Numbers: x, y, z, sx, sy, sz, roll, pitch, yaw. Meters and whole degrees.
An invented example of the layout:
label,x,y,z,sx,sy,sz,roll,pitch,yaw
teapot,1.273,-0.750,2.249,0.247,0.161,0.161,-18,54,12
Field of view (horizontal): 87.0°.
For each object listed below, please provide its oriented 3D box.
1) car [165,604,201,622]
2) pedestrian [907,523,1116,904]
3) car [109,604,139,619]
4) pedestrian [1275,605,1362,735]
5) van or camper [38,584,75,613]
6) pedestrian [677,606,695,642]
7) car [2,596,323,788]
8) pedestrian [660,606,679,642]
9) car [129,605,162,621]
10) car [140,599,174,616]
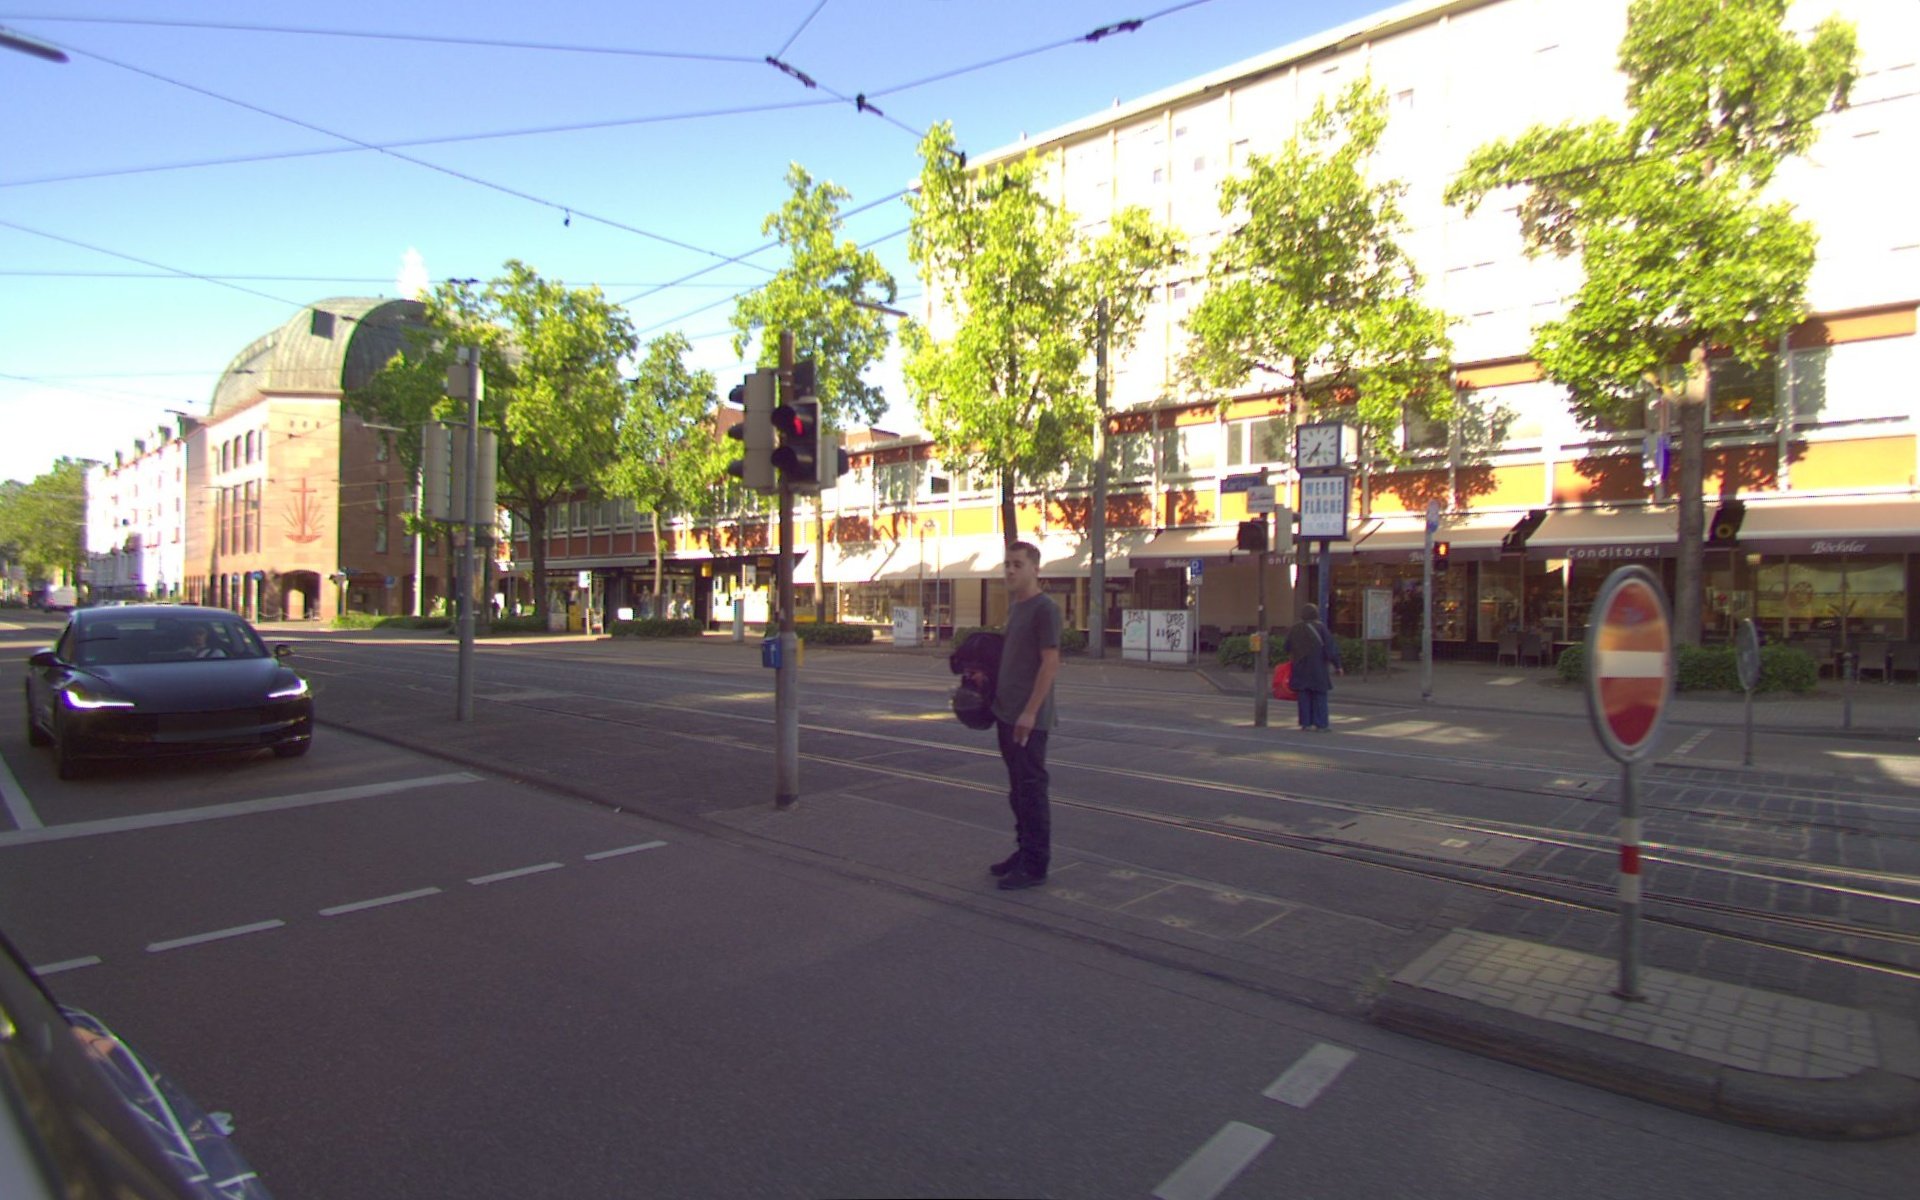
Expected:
label,x,y,z,sx,sy,sz,roll,pitch,yaw
car,-63.917,1.065,83.199,3.470,1.465,1.730,0,0,41
pedestrian,0.261,0.539,5.255,0.895,1.777,0.552,0,-3,43
car,-83.241,1.134,100.743,3.853,1.465,1.831,0,0,43
pedestrian,4.392,0.833,12.417,0.859,1.529,0.494,0,-3,43
van or camper,-89.993,-0.104,100.784,7.020,2.760,2.014,0,-2,43
pedestrian,-13.651,1.207,50.438,0.706,1.763,0.566,0,-1,44
car,-7.853,0.697,9.821,4.153,1.434,1.791,0,1,42
pedestrian,-14.300,1.171,49.836,0.706,1.785,0.566,0,-1,44
car,-74.890,1.165,93.024,3.853,1.364,1.831,0,0,43
car,-71.217,0.644,89.736,3.853,1.465,1.831,0,0,43
